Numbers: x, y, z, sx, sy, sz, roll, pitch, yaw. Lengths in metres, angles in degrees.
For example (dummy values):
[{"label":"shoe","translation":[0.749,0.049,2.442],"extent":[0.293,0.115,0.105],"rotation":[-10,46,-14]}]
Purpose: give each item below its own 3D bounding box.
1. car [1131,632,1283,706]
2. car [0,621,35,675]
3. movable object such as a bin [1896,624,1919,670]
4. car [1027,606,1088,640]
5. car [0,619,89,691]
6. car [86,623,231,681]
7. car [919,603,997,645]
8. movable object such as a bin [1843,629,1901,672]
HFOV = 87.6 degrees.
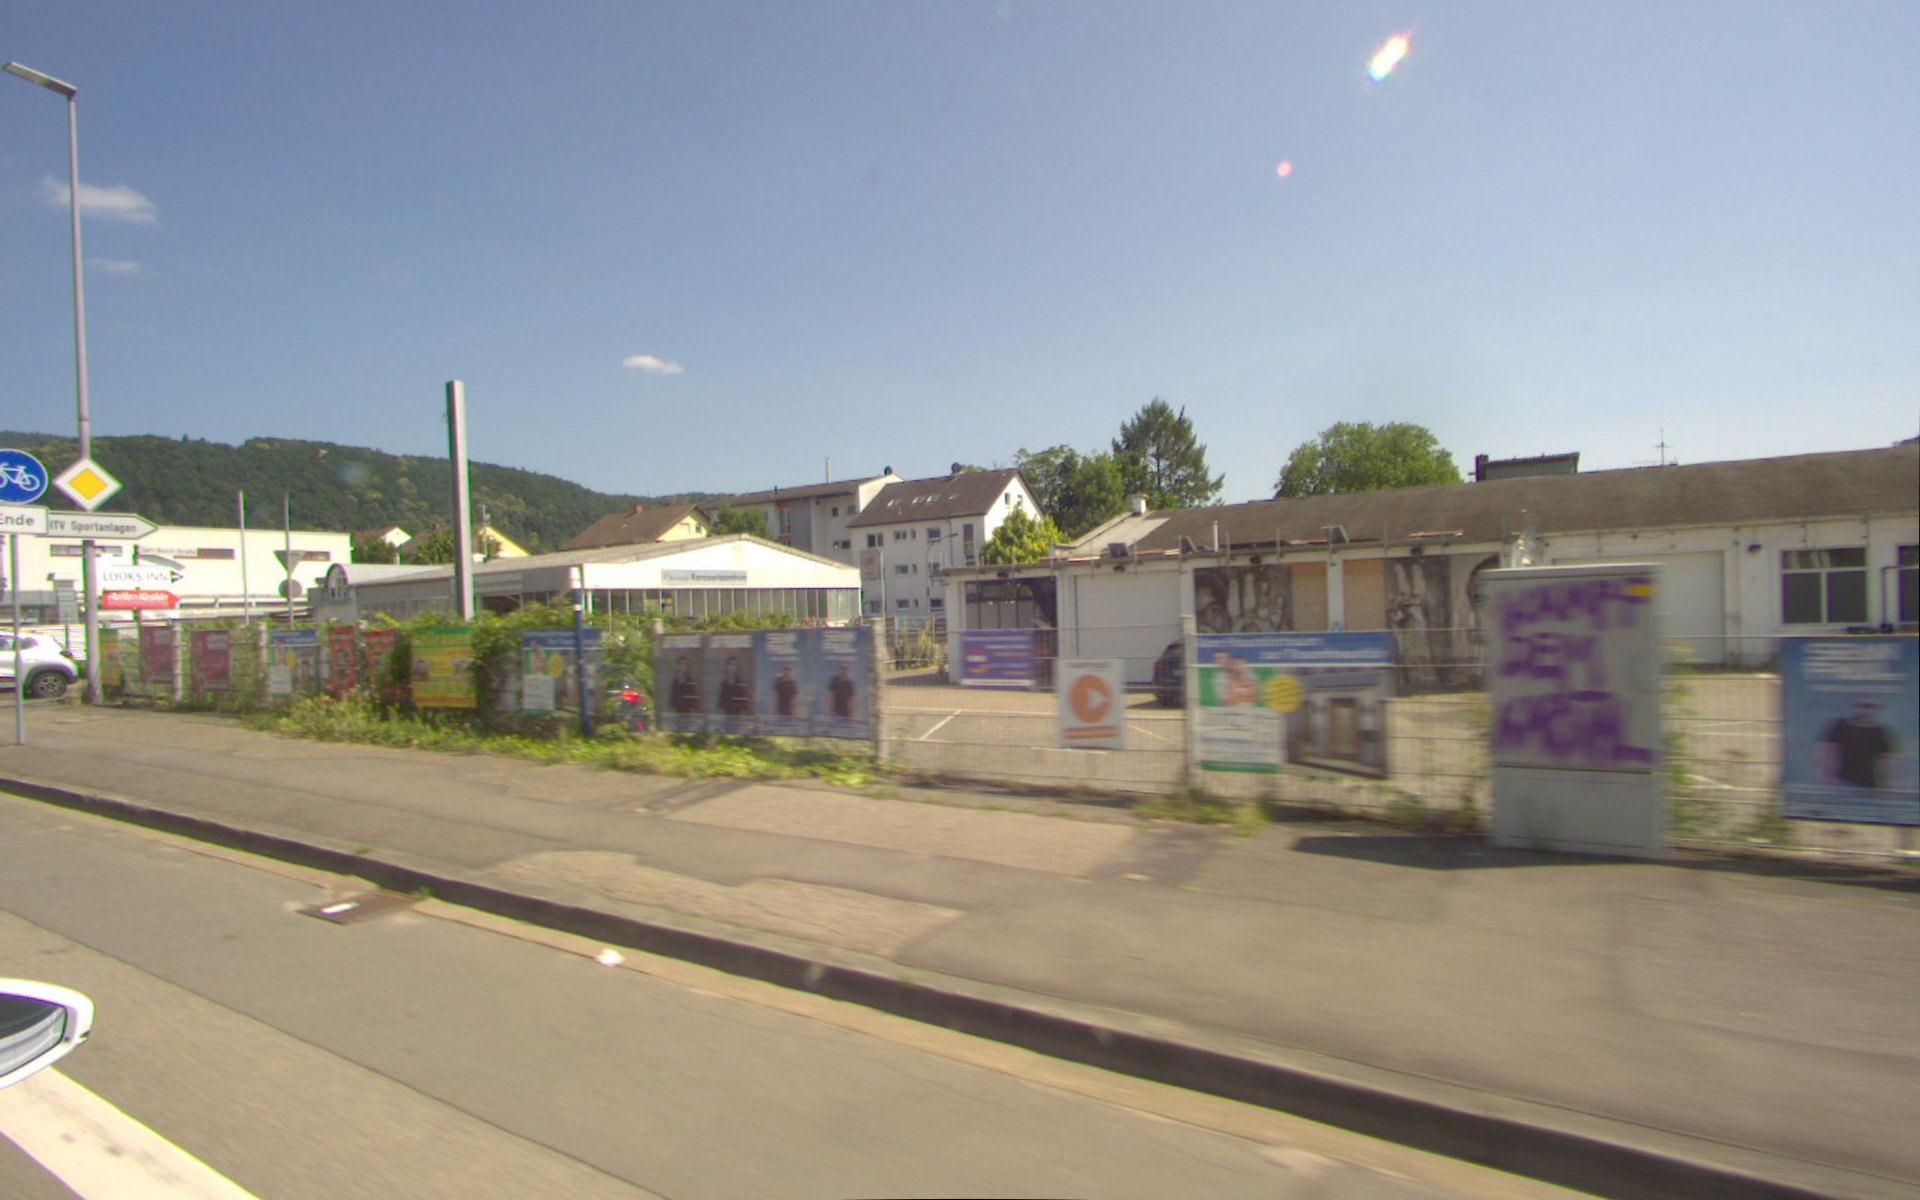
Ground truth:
[{"label":"car","translation":[5.692,1.475,22.718],"extent":[2.089,1.416,4.319],"rotation":[-1,-1,33]},{"label":"car","translation":[-25.575,1.198,25.410],"extent":[1.930,1.375,4.479],"rotation":[3,-4,-28]},{"label":"movable object such as a bin","translation":[22.813,1.105,23.654],"extent":[0.862,1.050,0.745],"rotation":[-1,0,27]},{"label":"car","translation":[5.424,1.250,55.103],"extent":[1.969,1.795,3.983],"rotation":[-1,0,28]},{"label":"car","translation":[-21.125,1.182,21.264],"extent":[1.704,1.504,3.656],"rotation":[0,0,33]},{"label":"car","translation":[-23.121,1.439,28.862],"extent":[4.441,1.524,1.844],"rotation":[-1,0,31]},{"label":"car","translation":[-0.050,1.102,46.557],"extent":[1.969,1.817,3.984],"rotation":[0,-1,28]},{"label":"movable object such as a bin","translation":[21.963,1.203,24.130],"extent":[0.862,1.005,0.745],"rotation":[-1,0,27]}]
